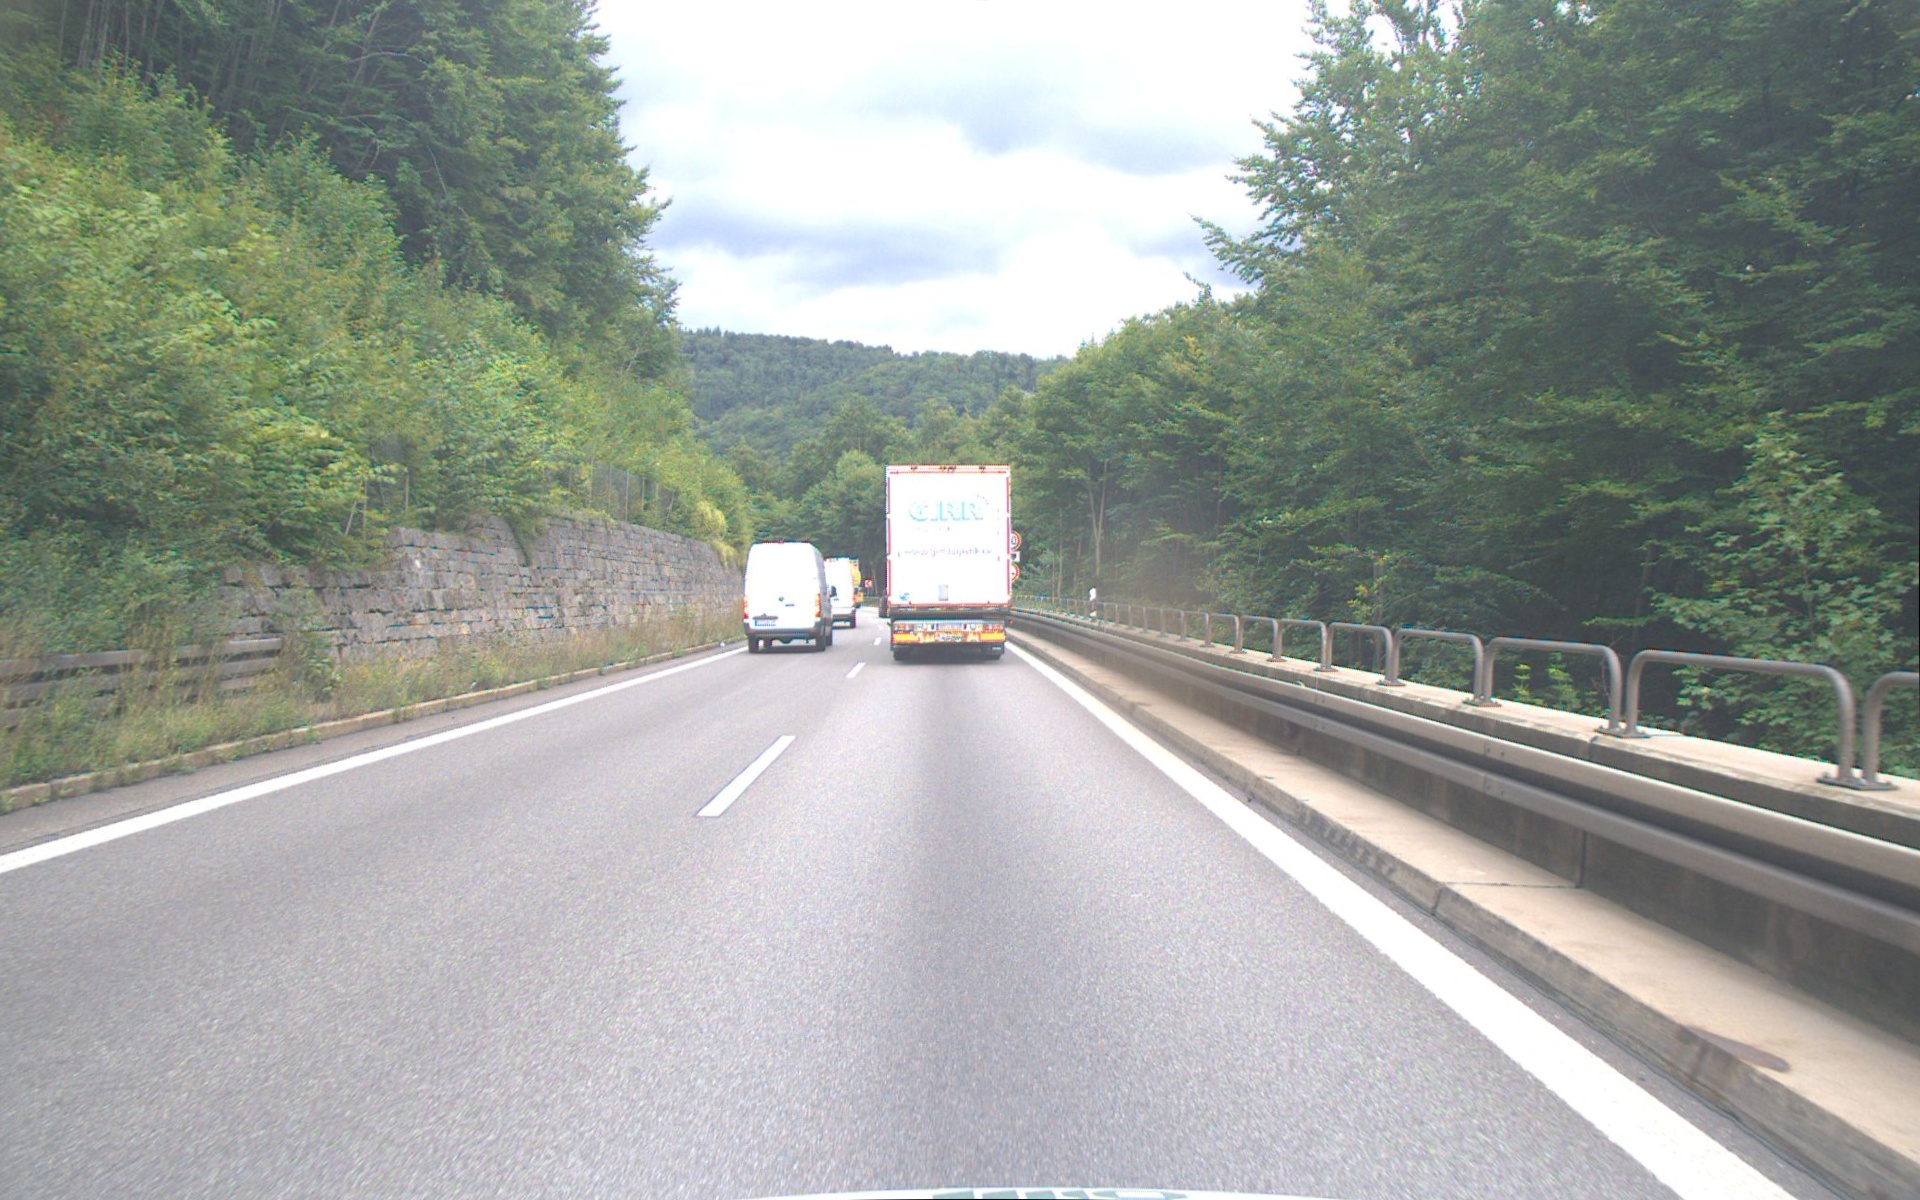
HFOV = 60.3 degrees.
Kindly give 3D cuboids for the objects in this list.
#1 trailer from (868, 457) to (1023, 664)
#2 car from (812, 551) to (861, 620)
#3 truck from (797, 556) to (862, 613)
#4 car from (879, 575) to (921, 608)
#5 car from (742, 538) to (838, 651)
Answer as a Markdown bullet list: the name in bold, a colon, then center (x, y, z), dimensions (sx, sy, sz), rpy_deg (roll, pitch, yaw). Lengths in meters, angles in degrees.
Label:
- **trailer**: center (-0.440, -0.960, 38.930), dimensions (2.996, 4.055, 12.135), rpy_deg (1, 2, -1)
- **car**: center (-5.134, -0.604, 68.948), dimensions (1.901, 2.719, 5.986), rpy_deg (1, 0, -4)
- **truck**: center (-10.224, -1.304, 128.252), dimensions (3.005, 4.055, 13.654), rpy_deg (-2, 2, -13)
- **car**: center (-3.281, -0.458, 89.296), dimensions (1.955, 1.691, 3.995), rpy_deg (1, 0, -6)
- **car**: center (-4.398, -0.162, 43.762), dimensions (1.948, 2.719, 6.934), rpy_deg (1, 0, -1)
